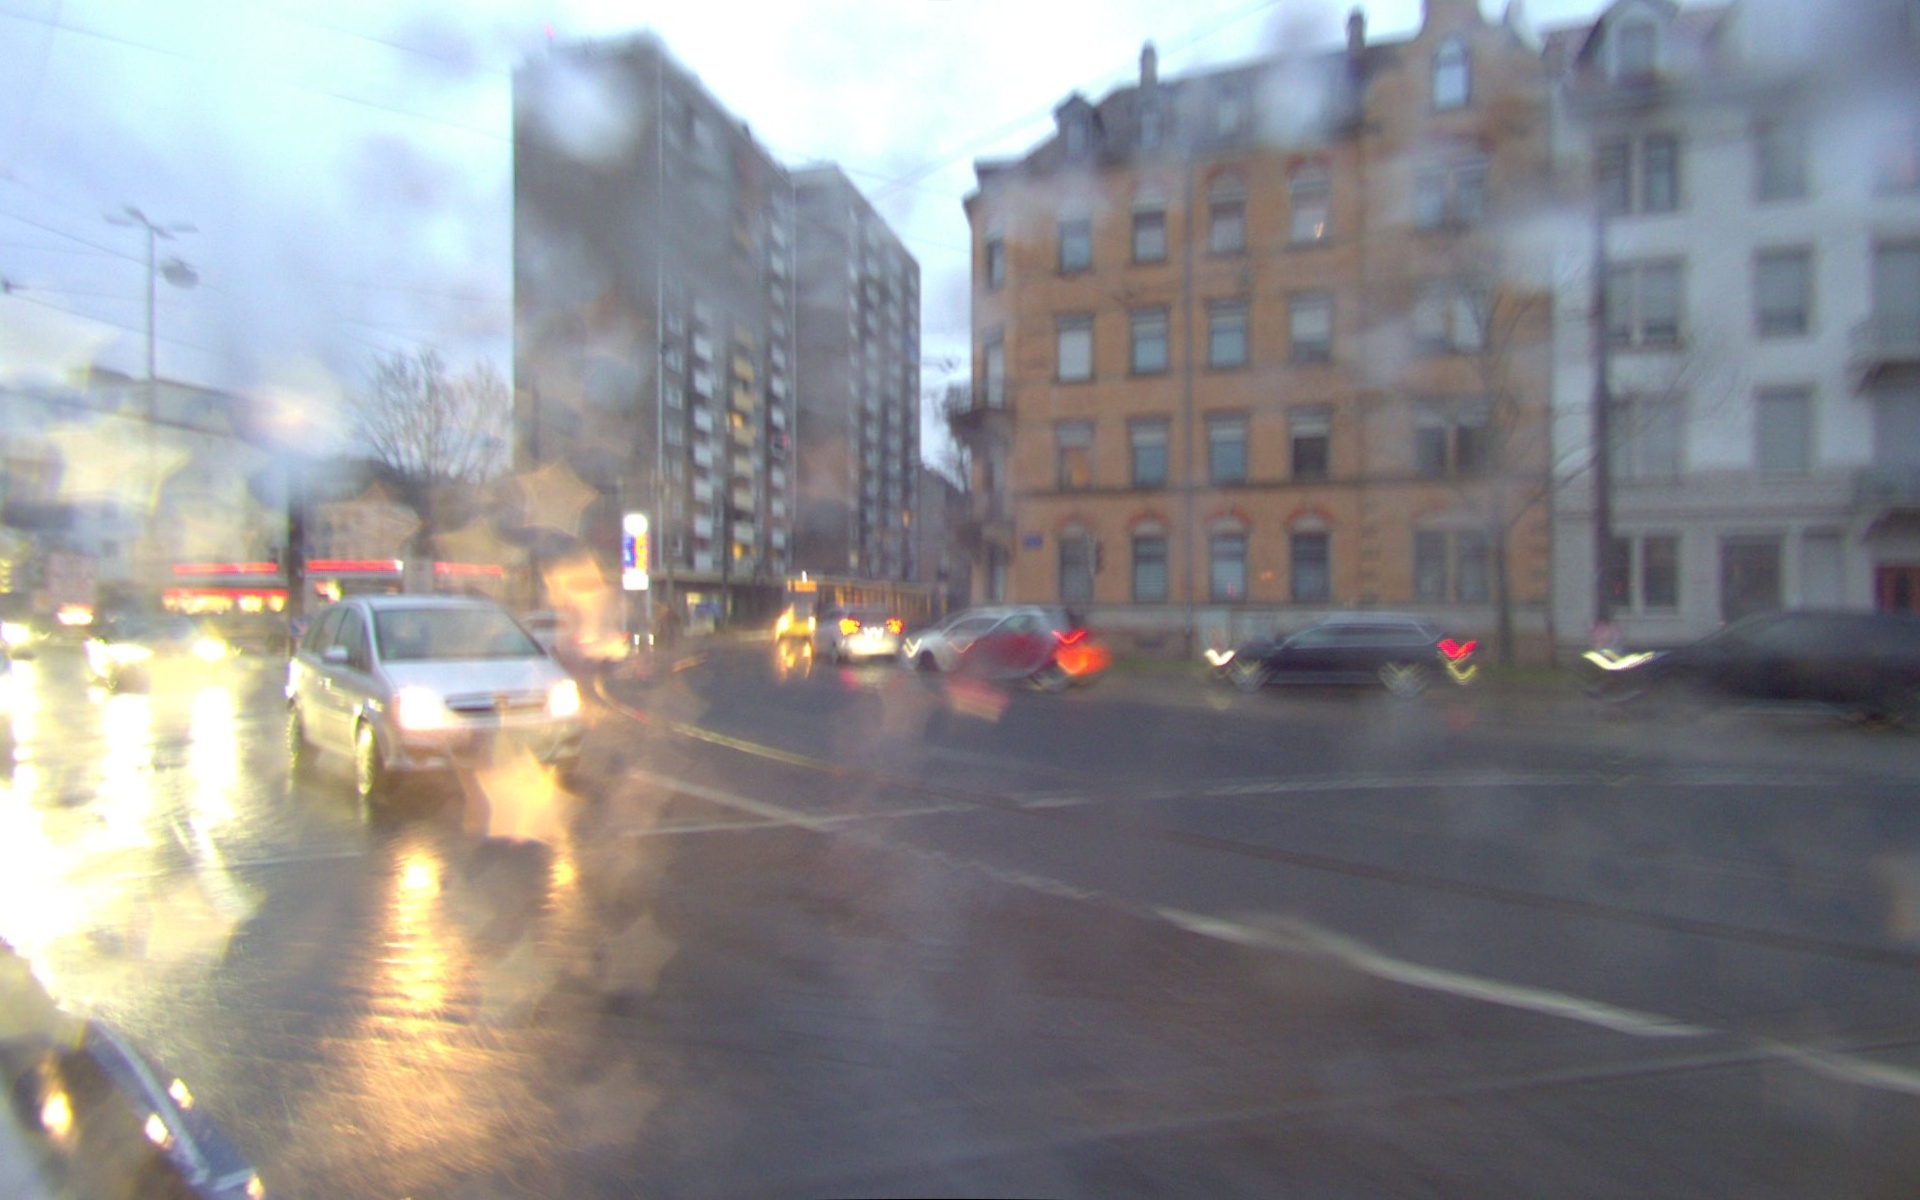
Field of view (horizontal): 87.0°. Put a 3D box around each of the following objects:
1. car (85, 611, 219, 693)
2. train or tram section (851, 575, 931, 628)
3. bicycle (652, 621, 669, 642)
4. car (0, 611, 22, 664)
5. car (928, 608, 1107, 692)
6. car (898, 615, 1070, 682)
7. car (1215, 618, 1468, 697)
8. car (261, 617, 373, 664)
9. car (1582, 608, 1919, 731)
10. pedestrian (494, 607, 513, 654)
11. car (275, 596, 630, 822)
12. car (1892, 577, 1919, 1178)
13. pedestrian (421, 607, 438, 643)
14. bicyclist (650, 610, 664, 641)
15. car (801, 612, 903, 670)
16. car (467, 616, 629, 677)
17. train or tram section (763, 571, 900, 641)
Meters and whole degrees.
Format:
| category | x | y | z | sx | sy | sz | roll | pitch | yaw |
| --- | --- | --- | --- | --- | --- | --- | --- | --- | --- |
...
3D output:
| category | x | y | z | sx | sy | sz | roll | pitch | yaw |
| --- | --- | --- | --- | --- | --- | --- | --- | --- | --- |
| car | -17.052 | 1.038 | 21.298 | 4.002 | 1.556 | 1.728 | -1 | -2 | 45 |
| train or tram section | -4.472 | 0.027 | 68.404 | 3.133 | 3.261 | 11.122 | 0 | 1 | 8 |
| bicycle | -13.865 | 1.464 | 46.845 | 0.498 | 0.907 | 1.989 | -1 | 0 | -10 |
| car | -33.931 | 1.280 | 34.532 | 4.172 | 1.755 | 1.801 | -1 | -2 | 32 |
| car | 1.087 | 0.900 | 19.438 | 3.140 | 1.498 | 1.477 | 0 | -1 | 30 |
| car | 0.536 | 1.061 | 23.049 | 3.597 | 1.402 | 1.670 | 0 | -1 | 28 |
| car | 7.266 | 1.036 | 19.450 | 4.362 | 1.364 | 1.672 | 0 | -1 | 25 |
| car | -21.808 | 1.338 | 34.294 | 4.049 | 1.468 | 1.667 | 0 | -1 | 32 |
| car | 11.243 | 0.897 | 14.155 | 4.096 | 1.565 | 1.672 | 0 | -1 | 24 |
| pedestrian | -17.578 | 1.163 | 38.974 | 0.628 | 1.785 | 0.462 | 0 | 0 | 39 |
| car | -4.682 | 0.763 | 9.029 | 4.111 | 1.560 | 1.626 | -1 | 0 | 45 |
| car | 3.645 | 0.662 | 0.926 | 3.997 | 1.498 | 1.609 | -1 | -1 | 41 |
| pedestrian | -27.029 | 1.271 | 51.585 | 0.525 | 1.806 | 0.627 | -1 | 0 | 5 |
| bicyclist | -14.046 | 1.188 | 46.925 | 0.498 | 1.401 | 0.971 | -1 | 0 | -10 |
| car | -3.177 | 1.103 | 29.070 | 1.656 | 1.536 | 4.242 | 0 | -1 | -25 |
| car | -10.817 | 1.156 | 26.517 | 4.317 | 1.468 | 1.668 | 0 | -1 | 30 |
| train or tram section | -6.428 | 0.192 | 54.857 | 3.133 | 3.212 | 16.267 | 0 | 1 | 8 |
